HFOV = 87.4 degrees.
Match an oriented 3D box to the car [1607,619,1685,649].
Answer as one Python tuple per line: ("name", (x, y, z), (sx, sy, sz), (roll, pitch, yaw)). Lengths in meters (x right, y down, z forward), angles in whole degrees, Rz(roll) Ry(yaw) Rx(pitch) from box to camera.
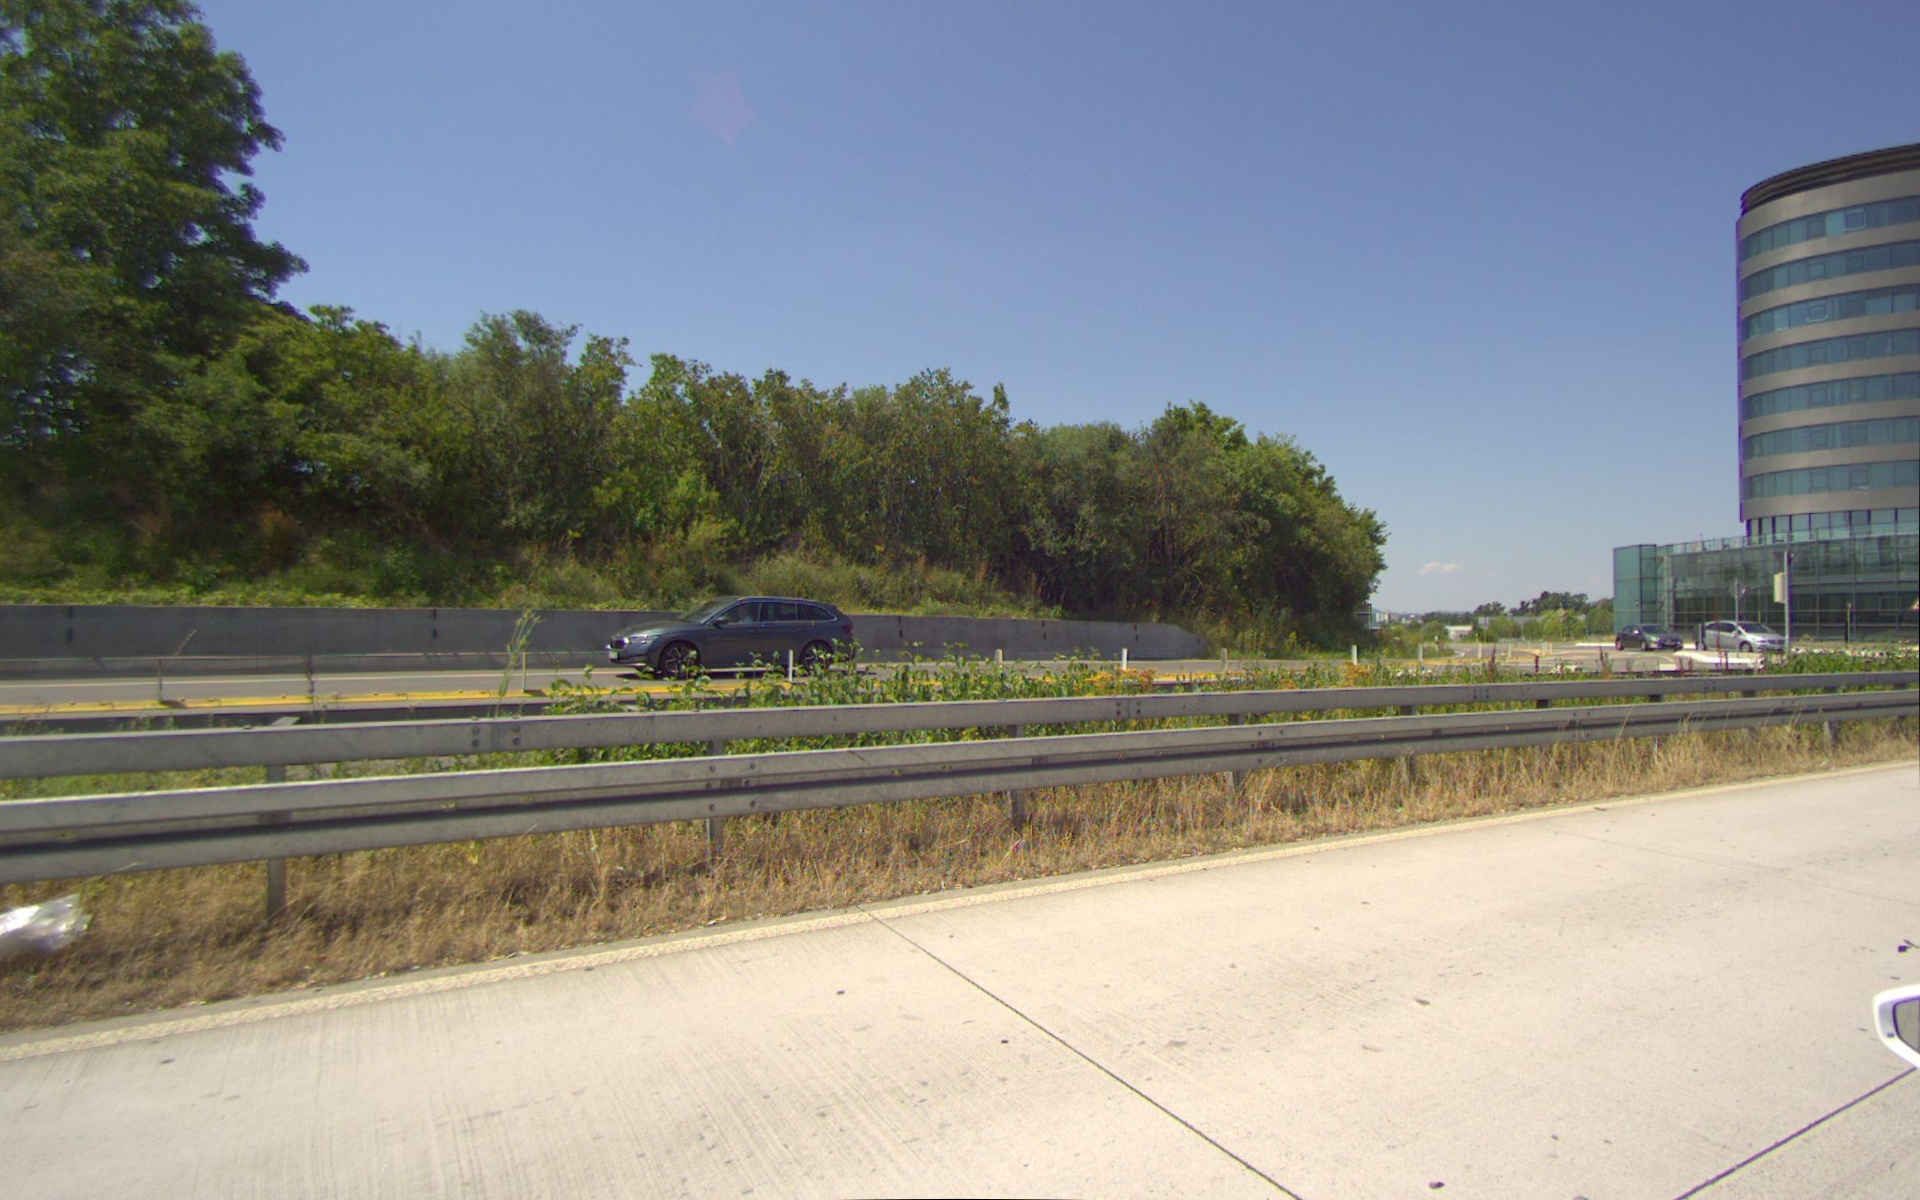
("car", (37.208, 1.870, 54.611), (1.663, 1.475, 4.333), (2, -2, 6))

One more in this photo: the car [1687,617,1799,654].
("car", (36.499, 1.672, 46.970), (1.742, 1.616, 4.329), (2, -2, -2))

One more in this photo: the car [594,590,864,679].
("car", (-4.230, 0.624, 18.750), (4.560, 1.466, 1.859), (2, 0, -37))
